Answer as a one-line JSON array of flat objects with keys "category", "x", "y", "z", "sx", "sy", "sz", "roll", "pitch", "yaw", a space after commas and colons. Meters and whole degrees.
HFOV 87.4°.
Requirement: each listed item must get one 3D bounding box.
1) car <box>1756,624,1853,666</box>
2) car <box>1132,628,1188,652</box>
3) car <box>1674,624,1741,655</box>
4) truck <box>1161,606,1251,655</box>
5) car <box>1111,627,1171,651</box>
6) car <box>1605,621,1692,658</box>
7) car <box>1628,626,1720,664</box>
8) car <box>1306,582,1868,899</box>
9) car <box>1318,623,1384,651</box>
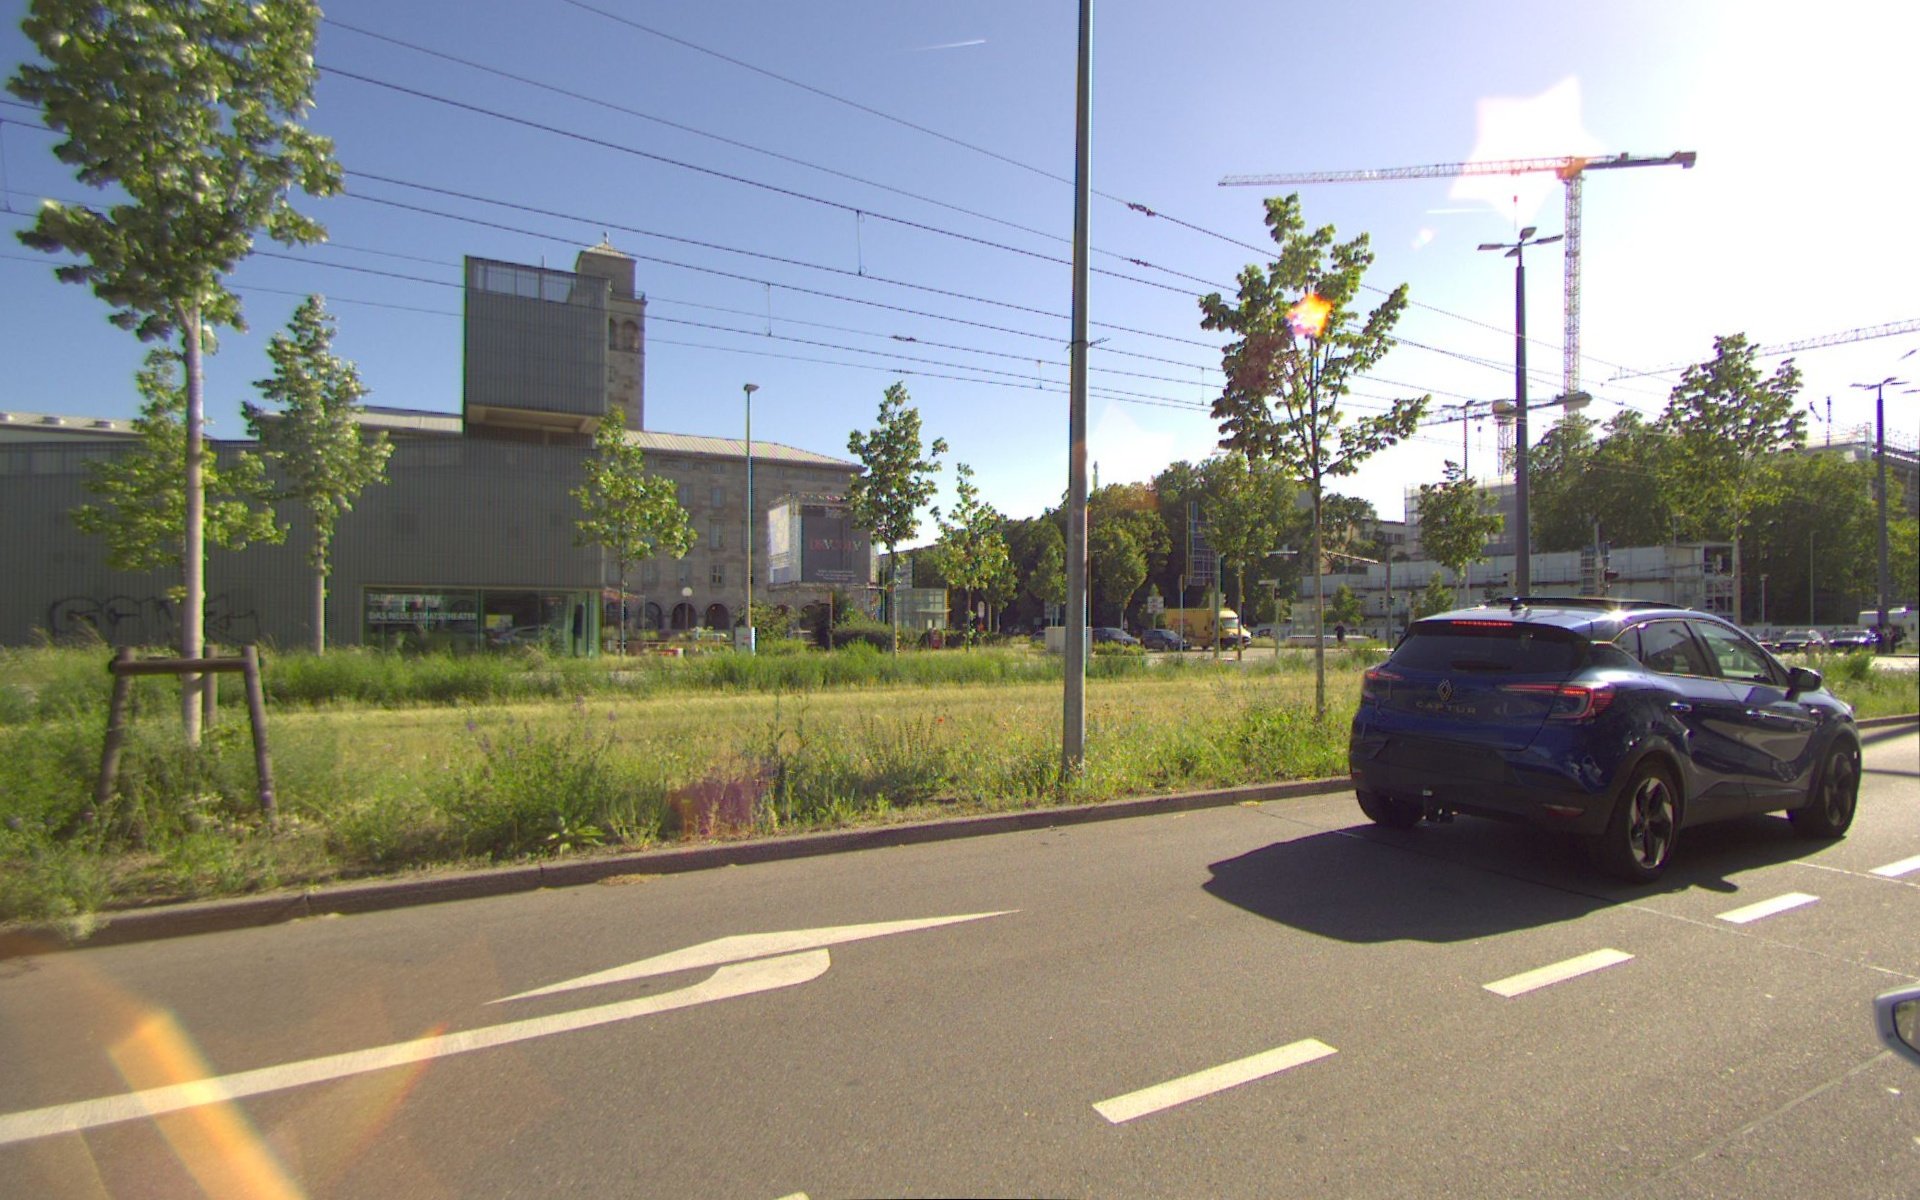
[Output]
[{"category": "car", "x": 26.627, "y": 1.420, "z": 31.666, "sx": 3.184, "sy": 1.194, "sz": 1.369, "roll": 2, "pitch": 0, "yaw": -31}, {"category": "car", "x": 13.240, "y": 2.633, "z": 66.739, "sx": 1.578, "sy": 1.458, "sz": 3.975, "roll": 1, "pitch": -1, "yaw": -25}, {"category": "car", "x": 43.570, "y": 2.311, "z": 58.535, "sx": 3.851, "sy": 1.634, "sz": 1.828, "roll": 2, "pitch": 0, "yaw": -31}, {"category": "truck", "x": 16.742, "y": 2.049, "z": 68.800, "sx": 1.974, "sy": 3.002, "sz": 6.941, "roll": 2, "pitch": 0, "yaw": -26}, {"category": "car", "x": 10.906, "y": 2.339, "z": 60.719, "sx": 1.627, "sy": 1.364, "sz": 3.491, "roll": 1, "pitch": -1, "yaw": -33}, {"category": "car", "x": 24.771, "y": 1.425, "z": 36.119, "sx": 3.184, "sy": 1.194, "sz": 1.369, "roll": 2, "pitch": 0, "yaw": -31}, {"category": "car", "x": 24.129, "y": 1.525, "z": 33.910, "sx": 3.184, "sy": 1.194, "sz": 1.369, "roll": 2, "pitch": 0, "yaw": -31}, {"category": "car", "x": 4.498, "y": 0.752, "z": 7.047, "sx": 4.106, "sy": 1.644, "sz": 1.735, "roll": 1, "pitch": 0, "yaw": -32}, {"category": "car", "x": 24.121, "y": 2.263, "z": 61.958, "sx": 3.953, "sy": 1.577, "sz": 1.702, "roll": 2, "pitch": 0, "yaw": -30}]
